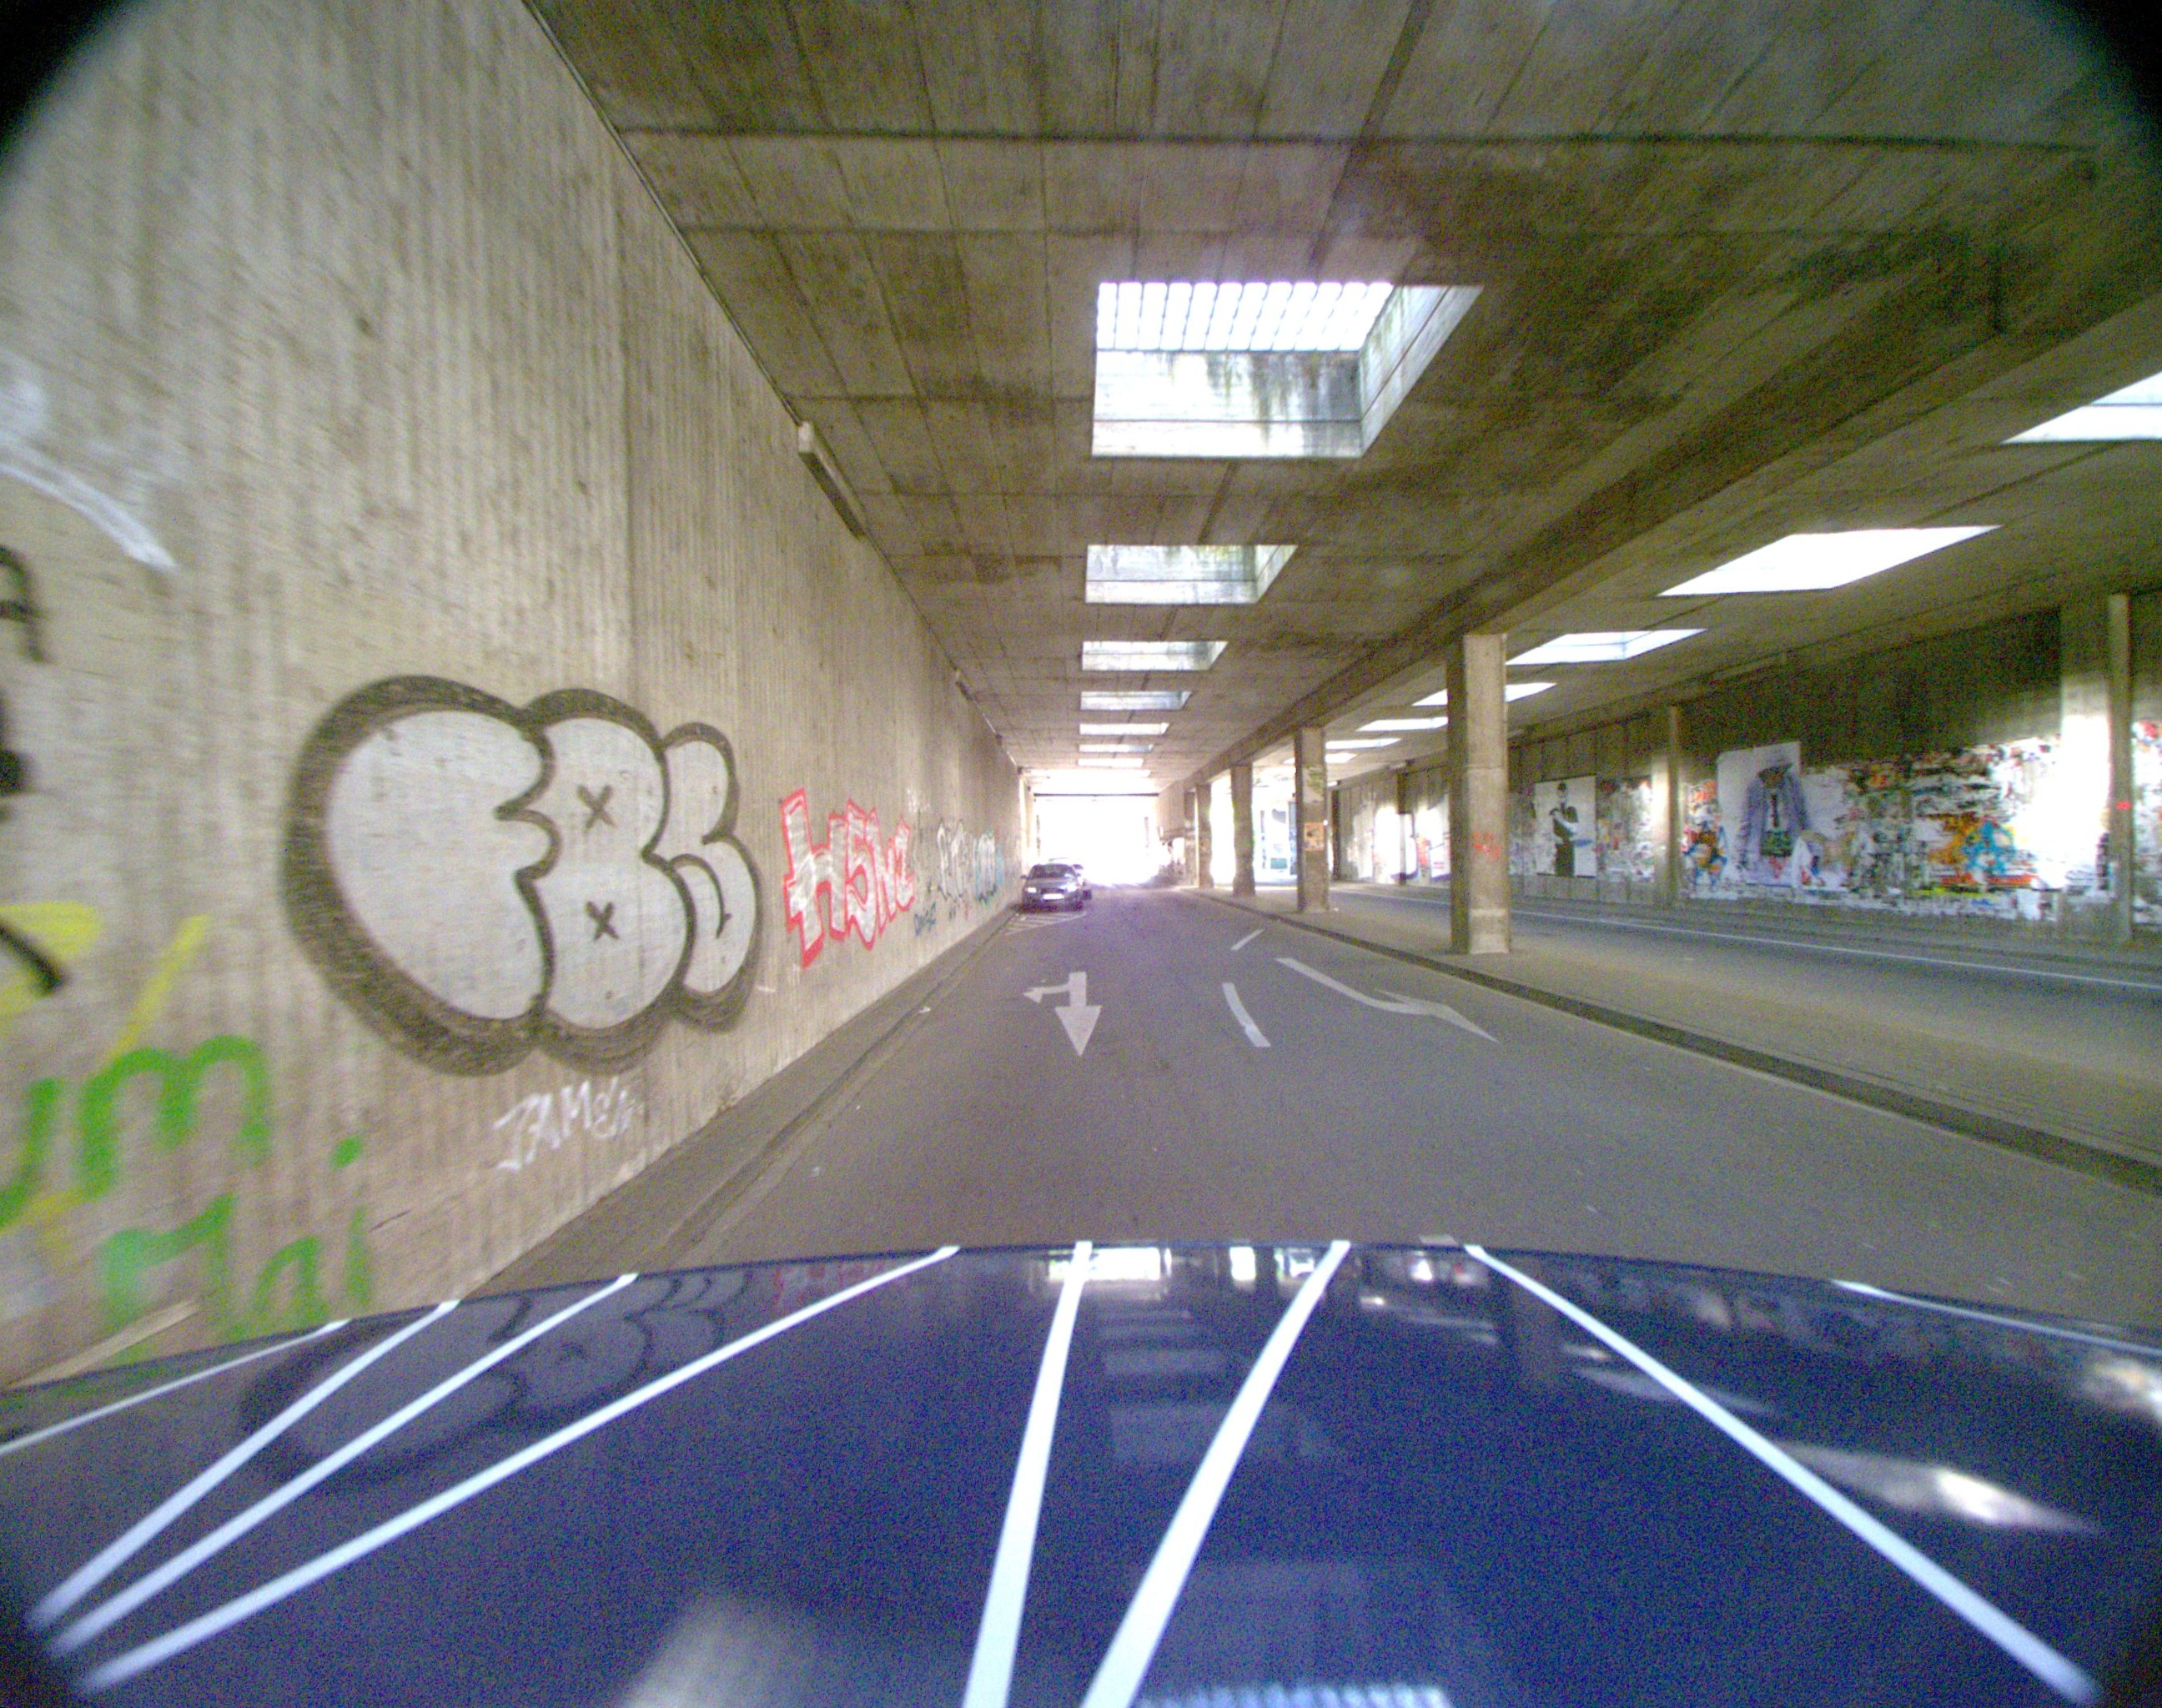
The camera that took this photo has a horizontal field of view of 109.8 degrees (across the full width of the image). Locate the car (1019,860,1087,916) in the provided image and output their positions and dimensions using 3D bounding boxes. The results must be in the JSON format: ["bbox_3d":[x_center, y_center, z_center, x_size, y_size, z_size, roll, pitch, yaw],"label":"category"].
[{"bbox_3d":[-0.770,0.951,23.158,1.808,1.460,4.000,-2,0,1],"label":"car"}]

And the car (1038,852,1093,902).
[{"bbox_3d":[-0.526,0.813,28.932,1.861,1.709,4.000,-2,0,1],"label":"car"}]
